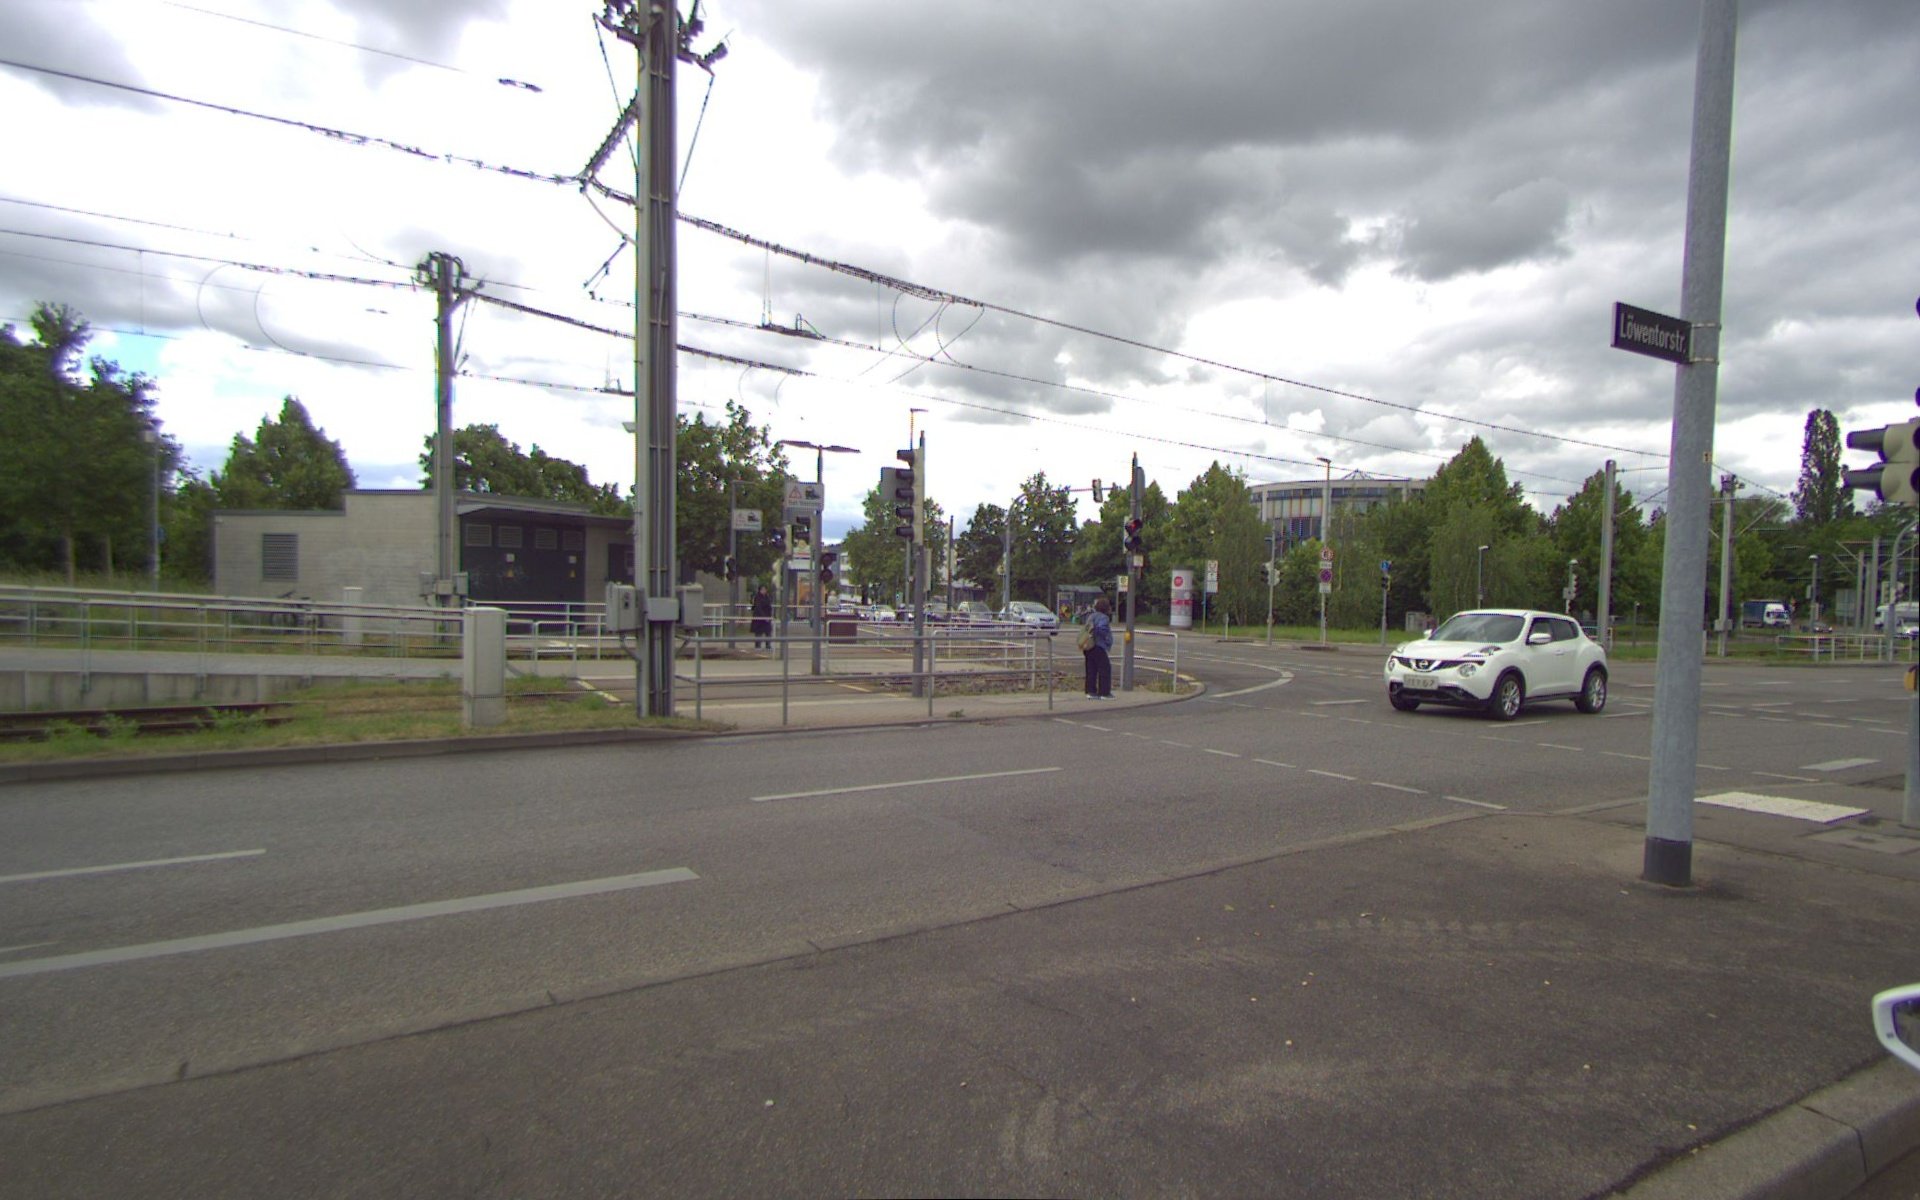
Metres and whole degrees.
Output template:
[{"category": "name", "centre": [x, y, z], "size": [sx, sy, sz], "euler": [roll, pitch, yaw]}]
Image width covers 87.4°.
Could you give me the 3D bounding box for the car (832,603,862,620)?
[{"category": "car", "centre": [-9.771, 0.984, 86.717], "size": [1.706, 1.456, 3.731], "euler": [1, 0, -20]}]

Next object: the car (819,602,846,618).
[{"category": "car", "centre": [-11.934, 0.959, 94.073], "size": [1.706, 1.456, 3.731], "euler": [1, 0, -20]}]

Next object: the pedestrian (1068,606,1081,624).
[{"category": "pedestrian", "centre": [8.293, 1.078, 72.857], "size": [0.652, 1.321, 0.780], "euler": [1, 0, -16]}]

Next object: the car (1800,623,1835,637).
[{"category": "car", "centre": [100.741, 3.459, 118.053], "size": [1.752, 1.465, 4.525], "euler": [-1, 0, 22]}]

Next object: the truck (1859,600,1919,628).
[{"category": "truck", "centre": [114.223, 1.668, 121.318], "size": [2.693, 3.373, 11.413], "euler": [1, 0, 10]}]

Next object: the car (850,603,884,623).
[{"category": "car", "centre": [-7.421, 1.020, 79.685], "size": [1.706, 1.456, 3.991], "euler": [1, 0, -20]}]

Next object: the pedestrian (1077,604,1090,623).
[{"category": "pedestrian", "centre": [8.784, 0.956, 71.604], "size": [0.652, 1.322, 0.780], "euler": [1, 0, -16]}]

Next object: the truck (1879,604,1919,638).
[{"category": "truck", "centre": [91.646, 2.004, 97.551], "size": [2.084, 3.176, 5.890], "euler": [2, 0, 29]}]

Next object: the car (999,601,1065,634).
[{"category": "car", "centre": [3.298, 0.798, 46.810], "size": [1.706, 1.456, 3.731], "euler": [1, 0, -20]}]

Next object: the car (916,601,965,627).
[{"category": "car", "centre": [-1.153, 0.814, 58.166], "size": [1.706, 1.456, 3.731], "euler": [1, 0, -20]}]

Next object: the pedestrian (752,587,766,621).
[{"category": "pedestrian", "centre": [-11.971, 0.208, 59.728], "size": [0.738, 1.993, 0.795], "euler": [1, 0, -9]}]

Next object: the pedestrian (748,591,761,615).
[{"category": "pedestrian", "centre": [-14.151, 0.208, 69.207], "size": [0.771, 1.649, 0.660], "euler": [1, 0, -22]}]

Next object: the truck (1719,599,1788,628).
[{"category": "truck", "centre": [109.066, 1.860, 138.397], "size": [2.998, 3.810, 12.817], "euler": [2, 0, 17]}]

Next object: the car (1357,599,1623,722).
[{"category": "car", "centre": [8.212, 0.857, 15.439], "size": [4.380, 1.650, 1.817], "euler": [1, -1, -35]}]

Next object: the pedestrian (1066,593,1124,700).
[{"category": "pedestrian", "centre": [2.078, 0.699, 15.440], "size": [0.701, 1.584, 0.533], "euler": [1, 1, -44]}]

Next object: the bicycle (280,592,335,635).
[{"category": "bicycle", "centre": [-17.331, 0.343, 26.678], "size": [1.452, 1.101, 0.492], "euler": [1, 0, 22]}]

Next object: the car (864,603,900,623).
[{"category": "car", "centre": [-5.816, 0.960, 74.782], "size": [1.706, 1.456, 3.731], "euler": [1, 0, -20]}]

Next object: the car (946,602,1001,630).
[{"category": "car", "centre": [0.686, 0.841, 53.670], "size": [1.706, 1.456, 3.731], "euler": [1, 0, -20]}]

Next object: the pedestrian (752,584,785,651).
[{"category": "pedestrian", "centre": [-4.777, 0.429, 25.047], "size": [0.695, 1.628, 0.655], "euler": [1, 0, -20]}]

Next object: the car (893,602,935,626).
[{"category": "car", "centre": [-3.007, 0.886, 64.932], "size": [1.706, 1.456, 3.731], "euler": [1, 0, -20]}]
